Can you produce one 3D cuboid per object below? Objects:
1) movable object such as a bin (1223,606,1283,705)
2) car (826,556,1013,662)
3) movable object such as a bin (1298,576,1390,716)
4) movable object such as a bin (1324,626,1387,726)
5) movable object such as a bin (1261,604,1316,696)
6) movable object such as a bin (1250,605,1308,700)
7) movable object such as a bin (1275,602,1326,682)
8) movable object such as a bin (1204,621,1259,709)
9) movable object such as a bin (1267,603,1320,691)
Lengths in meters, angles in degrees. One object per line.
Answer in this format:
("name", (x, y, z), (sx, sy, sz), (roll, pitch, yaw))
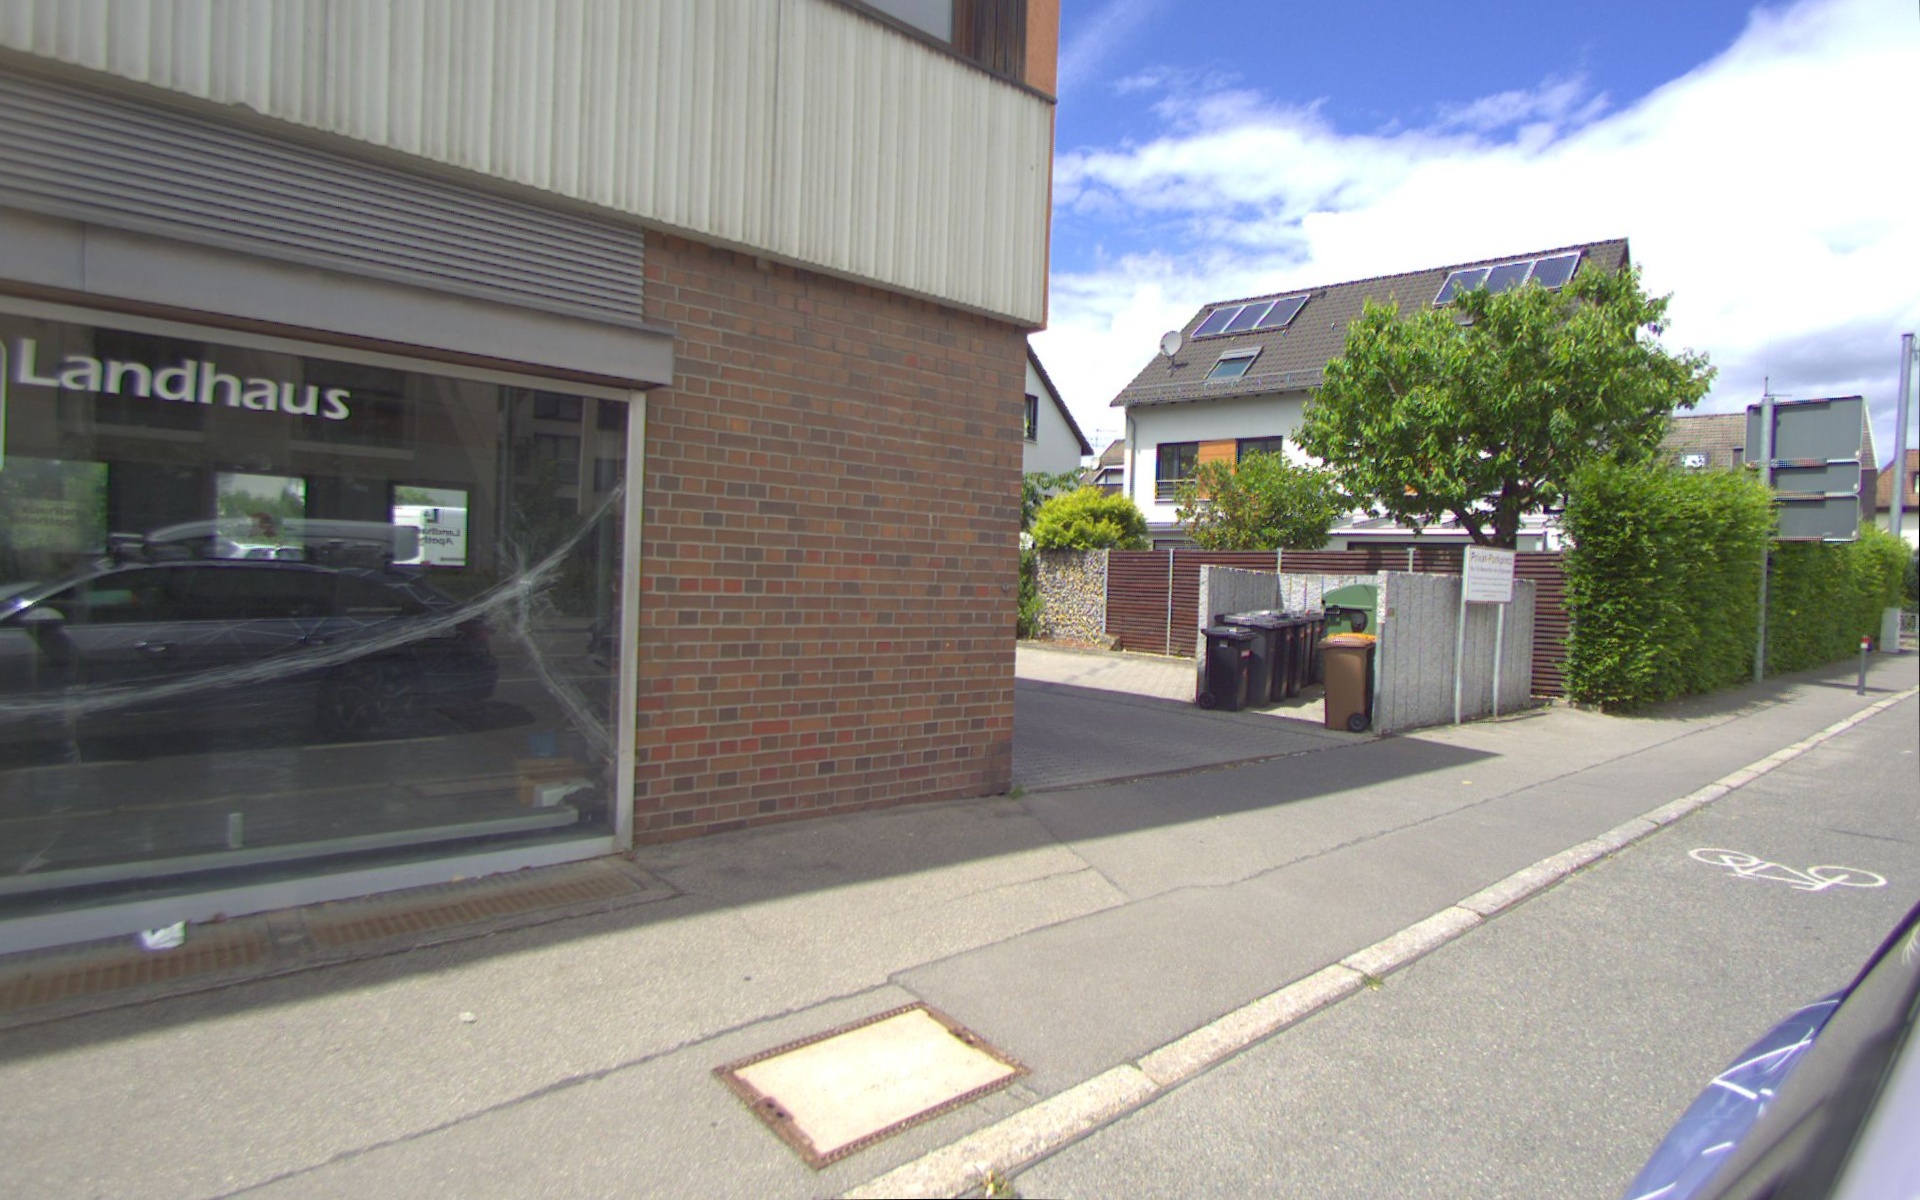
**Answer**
("movable object such as a bin", (3.409, 0.630, 11.766), (0.590, 1.088, 0.485), (1, 1, 25))
("car", (-0.601, 0.051, 18.480), (1.977, 1.615, 3.972), (1, 4, 22))
("movable object such as a bin", (4.213, 0.474, 11.110), (0.471, 1.473, 0.808), (0, 1, -45))
("movable object such as a bin", (3.982, 0.749, 10.185), (0.514, 0.933, 0.474), (1, 1, 31))
("movable object such as a bin", (4.098, 0.604, 12.608), (0.590, 1.088, 0.485), (1, 1, 25))
("movable object such as a bin", (3.836, 0.615, 12.165), (0.590, 1.088, 0.485), (1, 1, 25))
("movable object such as a bin", (4.810, 0.576, 14.293), (0.591, 1.088, 0.484), (1, 1, 30))
("movable object such as a bin", (3.053, 0.713, 11.383), (0.513, 0.933, 0.475), (1, 1, 25))
("movable object such as a bin", (4.316, 0.590, 13.087), (0.590, 1.088, 0.485), (1, 1, 25))
